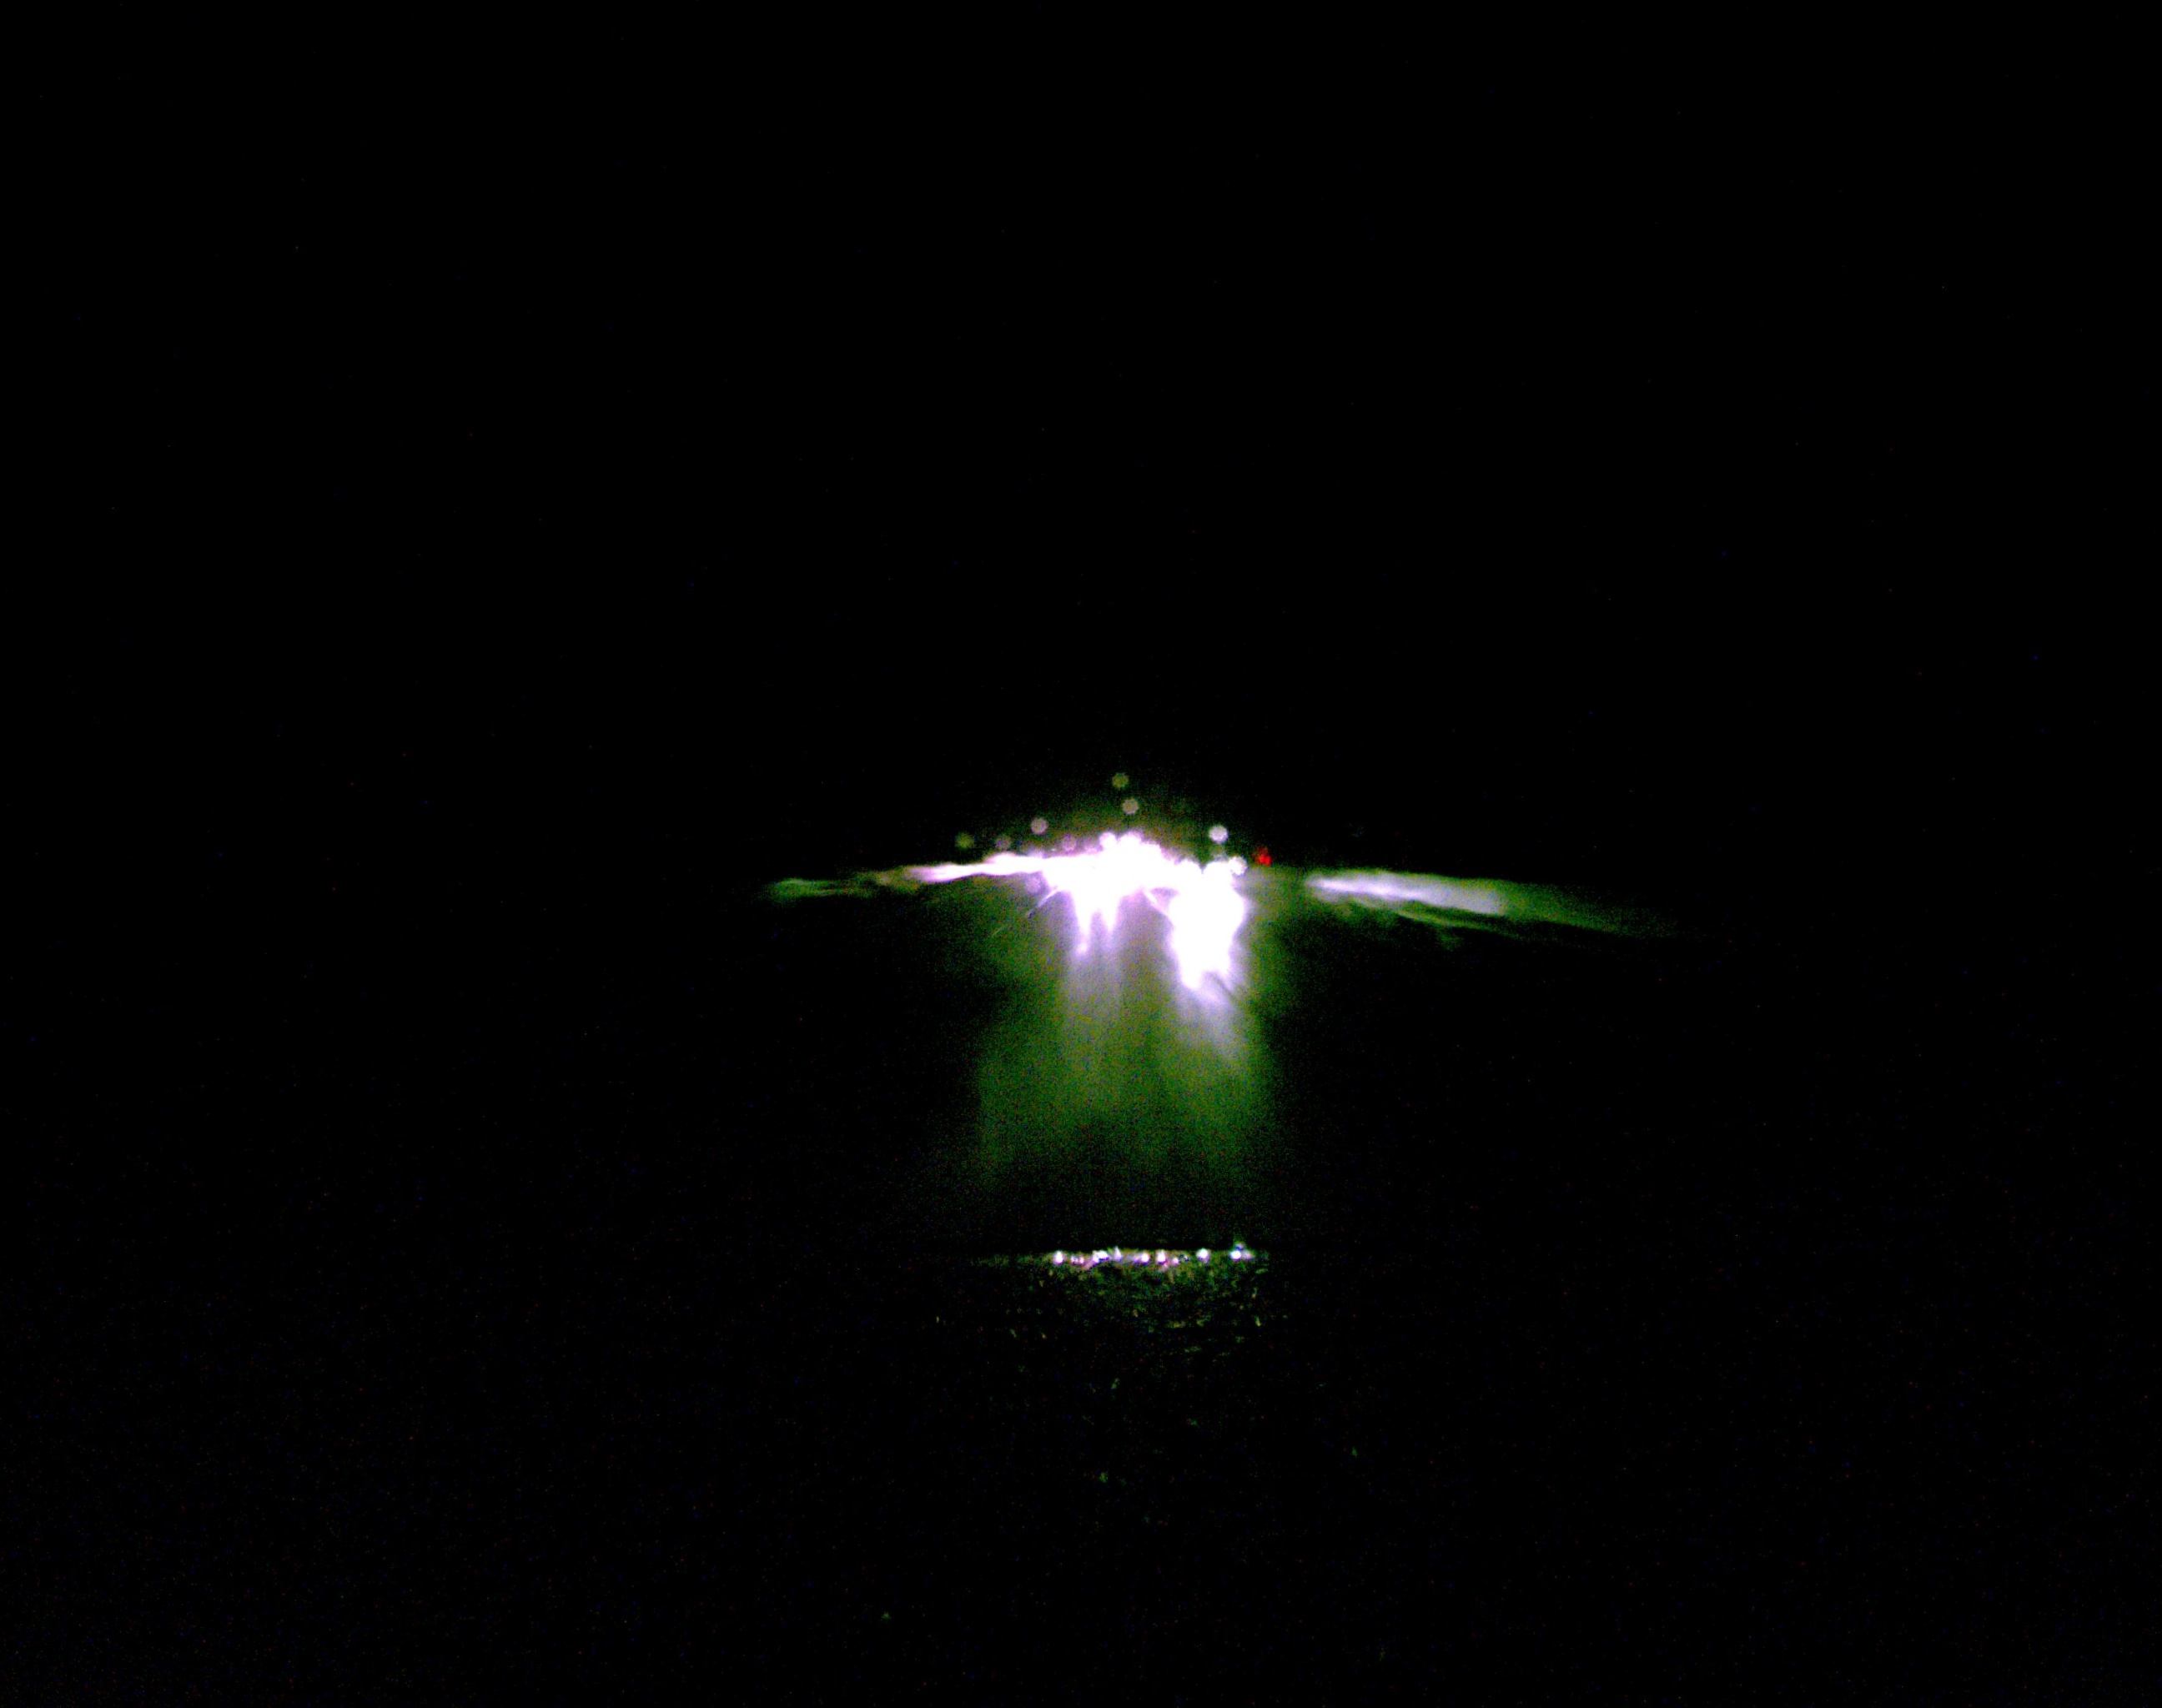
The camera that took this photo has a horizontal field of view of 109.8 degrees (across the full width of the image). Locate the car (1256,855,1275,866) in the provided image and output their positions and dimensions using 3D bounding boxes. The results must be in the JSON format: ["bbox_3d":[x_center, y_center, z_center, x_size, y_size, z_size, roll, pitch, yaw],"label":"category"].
[{"bbox_3d":[28.269,0.975,116.449,1.998,1.477,4.000,-3,0,1],"label":"car"}]

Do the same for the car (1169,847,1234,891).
[{"bbox_3d":[4.740,0.531,30.417,2.309,1.600,3.872,1,1,6],"label":"car"}]

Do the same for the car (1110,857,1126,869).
[{"bbox_3d":[4.038,0.965,82.987,1.692,1.149,3.421,1,1,4],"label":"car"}]

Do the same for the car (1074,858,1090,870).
[{"bbox_3d":[0.157,1.445,110.811,1.998,1.745,4.000,0,1,3],"label":"car"}]

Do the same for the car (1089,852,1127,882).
[{"bbox_3d":[1.697,0.750,45.981,1.997,1.667,4.001,1,1,6],"label":"car"}]

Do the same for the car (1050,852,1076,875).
[{"bbox_3d":[-1.627,0.817,70.626,1.998,2.002,4.001,1,1,4],"label":"car"}]

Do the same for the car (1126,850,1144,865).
[{"bbox_3d":[6.749,0.422,95.464,1.998,1.745,4.000,0,1,1],"label":"car"}]

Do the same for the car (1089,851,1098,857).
[{"bbox_3d":[2.987,0.020,174.793,1.998,1.149,4.000,1,1,1],"label":"car"}]

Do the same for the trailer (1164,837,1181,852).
[{"bbox_3d":[28.379,-2.875,236.942,4.177,4.597,13.958,1,1,2],"label":"trailer"}]

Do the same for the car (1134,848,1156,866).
[{"bbox_3d":[6.157,0.282,73.613,1.998,1.667,4.000,1,1,3],"label":"car"}]
